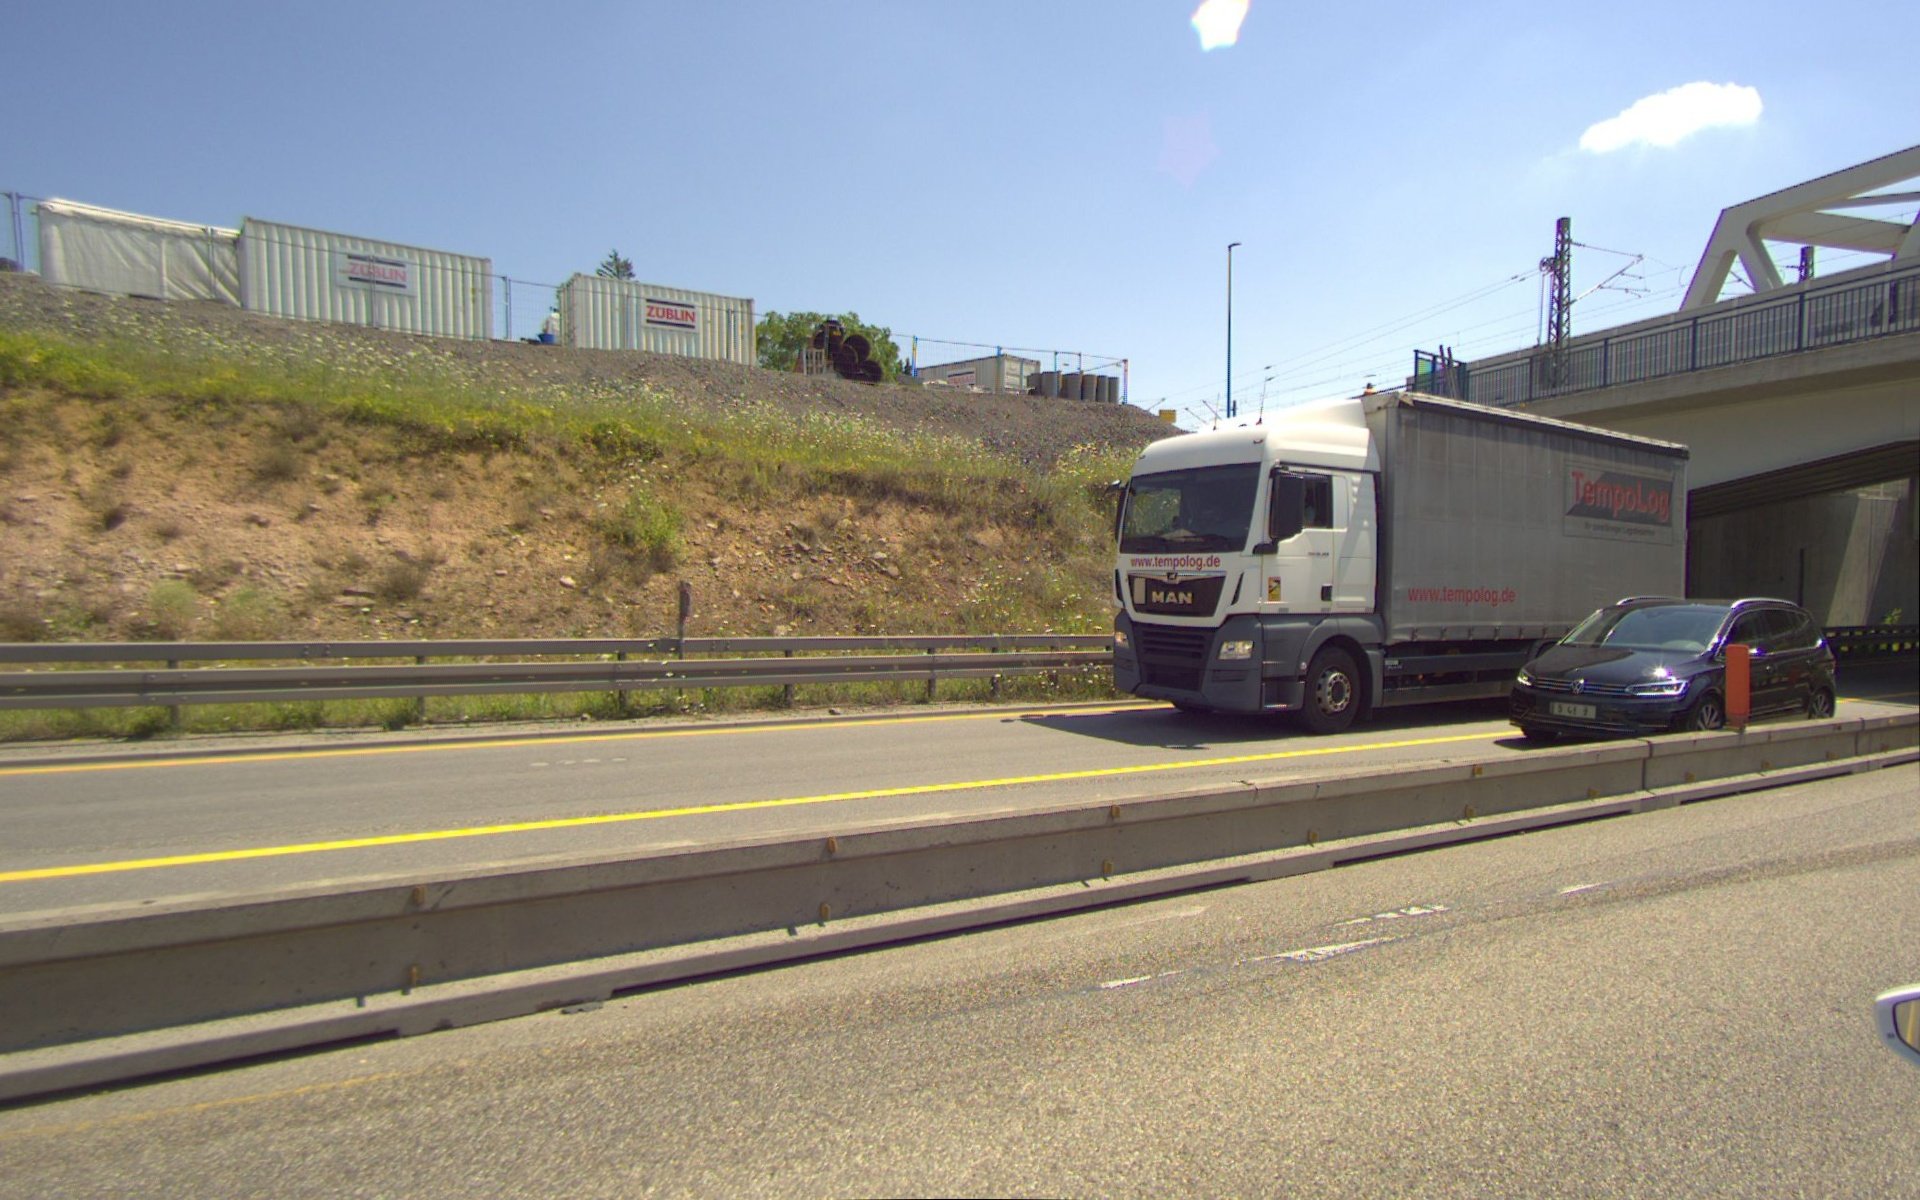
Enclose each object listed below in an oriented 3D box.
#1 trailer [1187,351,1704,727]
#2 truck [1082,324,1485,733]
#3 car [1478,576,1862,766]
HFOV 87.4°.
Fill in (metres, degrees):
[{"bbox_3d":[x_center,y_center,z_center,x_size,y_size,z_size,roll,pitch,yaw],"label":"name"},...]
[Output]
[{"bbox_3d":[7.338,-0.598,14.676,8.152,4.229,2.797,2,0,-32],"label":"trailer"},{"bbox_3d":[4.041,-0.702,12.611,4.029,4.205,2.783,2,0,-32],"label":"truck"},{"bbox_3d":[8.099,0.665,11.356,4.555,1.780,1.846,0,1,-31],"label":"car"}]
